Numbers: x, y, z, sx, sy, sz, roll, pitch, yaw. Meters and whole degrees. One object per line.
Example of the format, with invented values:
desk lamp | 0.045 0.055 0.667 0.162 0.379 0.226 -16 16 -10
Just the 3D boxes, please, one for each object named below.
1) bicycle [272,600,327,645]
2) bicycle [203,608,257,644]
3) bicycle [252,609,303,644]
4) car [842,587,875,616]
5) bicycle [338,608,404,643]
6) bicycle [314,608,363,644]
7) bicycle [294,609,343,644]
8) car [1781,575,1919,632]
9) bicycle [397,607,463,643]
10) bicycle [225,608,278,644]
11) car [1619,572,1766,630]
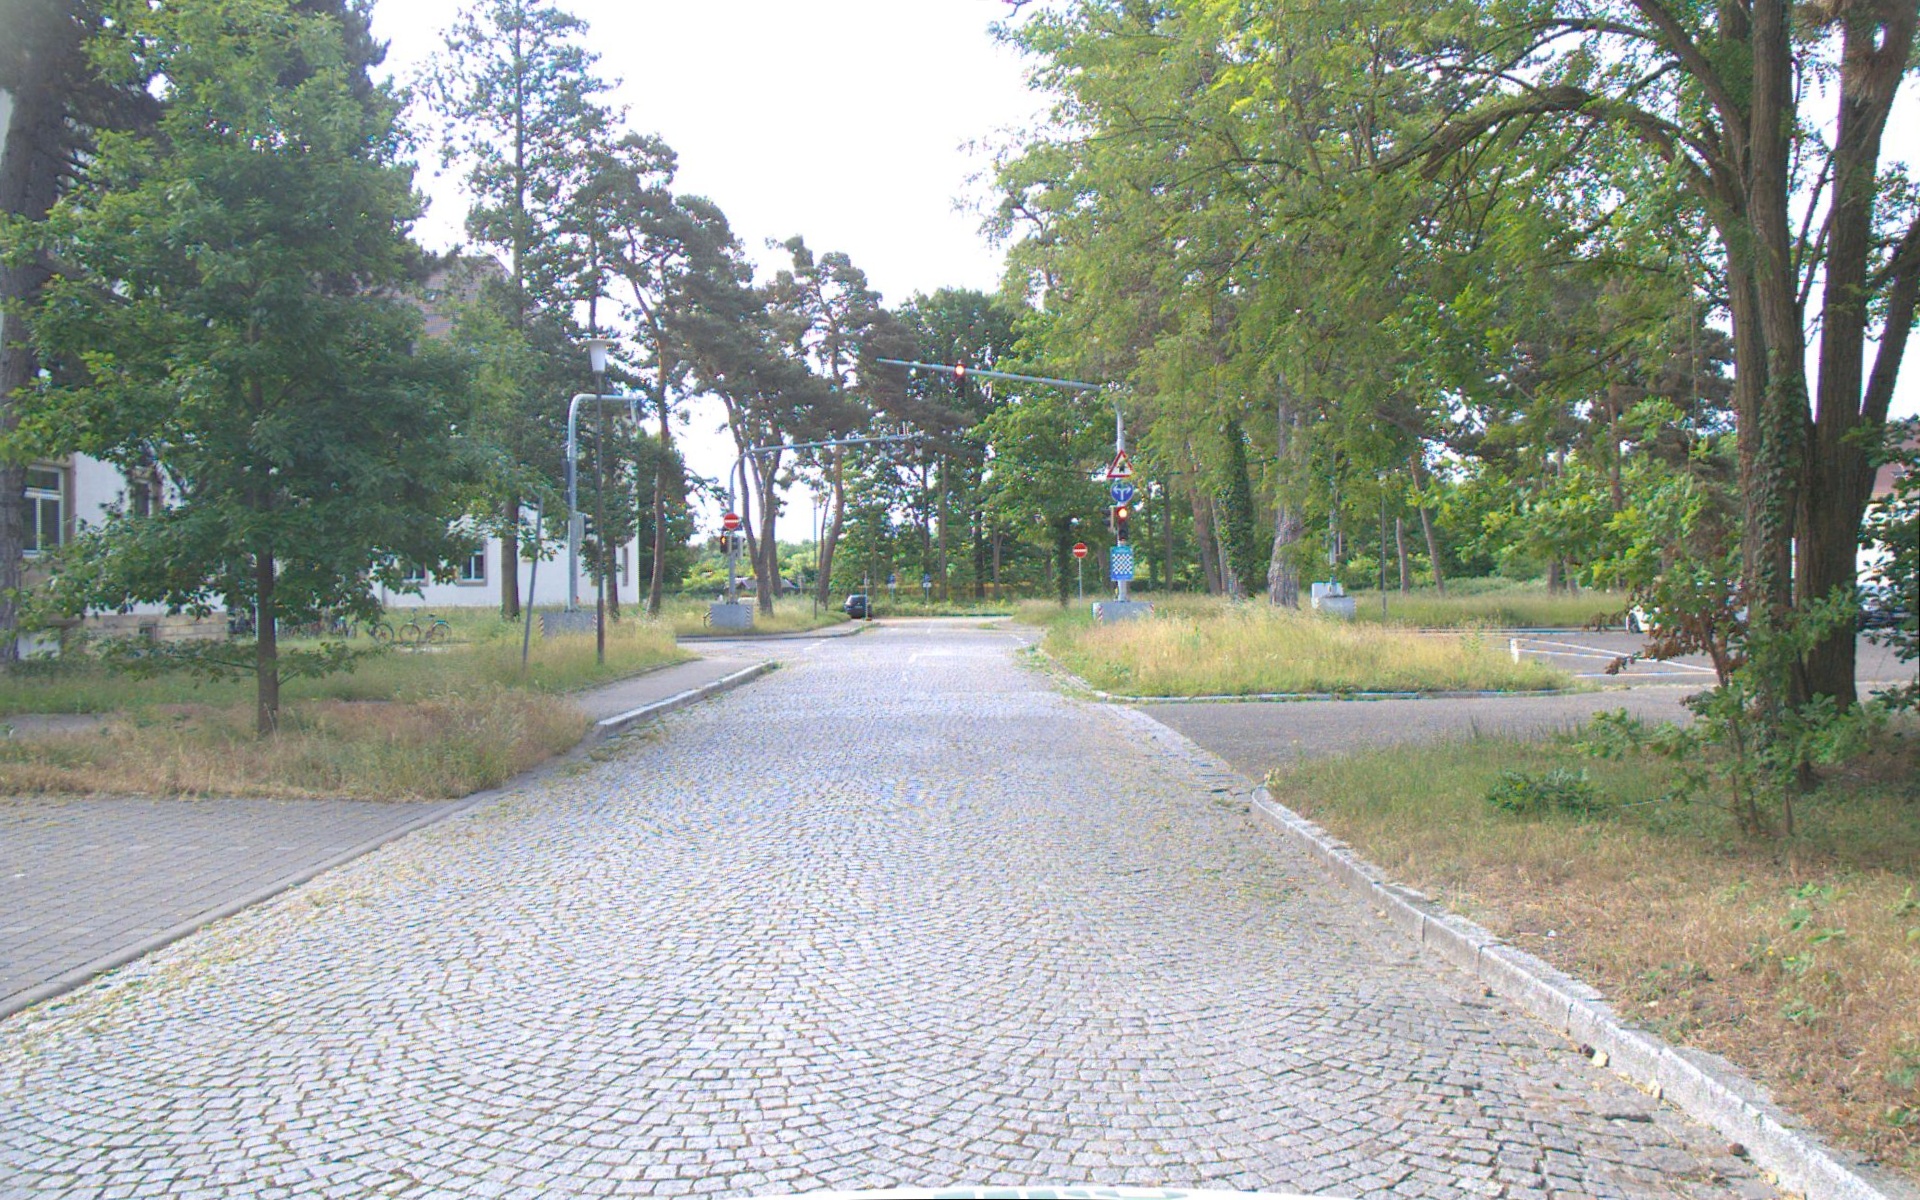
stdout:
bicycle | -21.538 0.703 54.008 0.721 1.410 2.711 -1 0 0
bicycle | -23.671 0.835 53.663 0.721 1.095 2.273 -1 0 0
bicycle | -22.324 0.846 54.105 0.721 1.095 2.273 -1 0 0
car | -6.706 0.101 110.081 2.014 1.878 3.999 -1 0 -2
bicycle | -18.699 0.807 52.526 1.818 1.095 0.738 -1 0 1
bicycle | -20.174 0.831 53.754 0.721 1.095 2.273 -1 0 0
bicycle | -20.802 0.846 53.664 0.721 1.095 2.273 -1 0 0
car | 25.784 0.130 47.522 1.954 1.507 4.421 -1 -1 -4
bicycle | -16.849 0.793 52.593 1.818 1.095 0.831 -1 0 1
bicycle | -22.952 0.830 53.602 0.721 1.095 2.273 -1 0 0
car | 20.707 0.068 46.971 1.954 1.507 4.421 -1 -1 -4
